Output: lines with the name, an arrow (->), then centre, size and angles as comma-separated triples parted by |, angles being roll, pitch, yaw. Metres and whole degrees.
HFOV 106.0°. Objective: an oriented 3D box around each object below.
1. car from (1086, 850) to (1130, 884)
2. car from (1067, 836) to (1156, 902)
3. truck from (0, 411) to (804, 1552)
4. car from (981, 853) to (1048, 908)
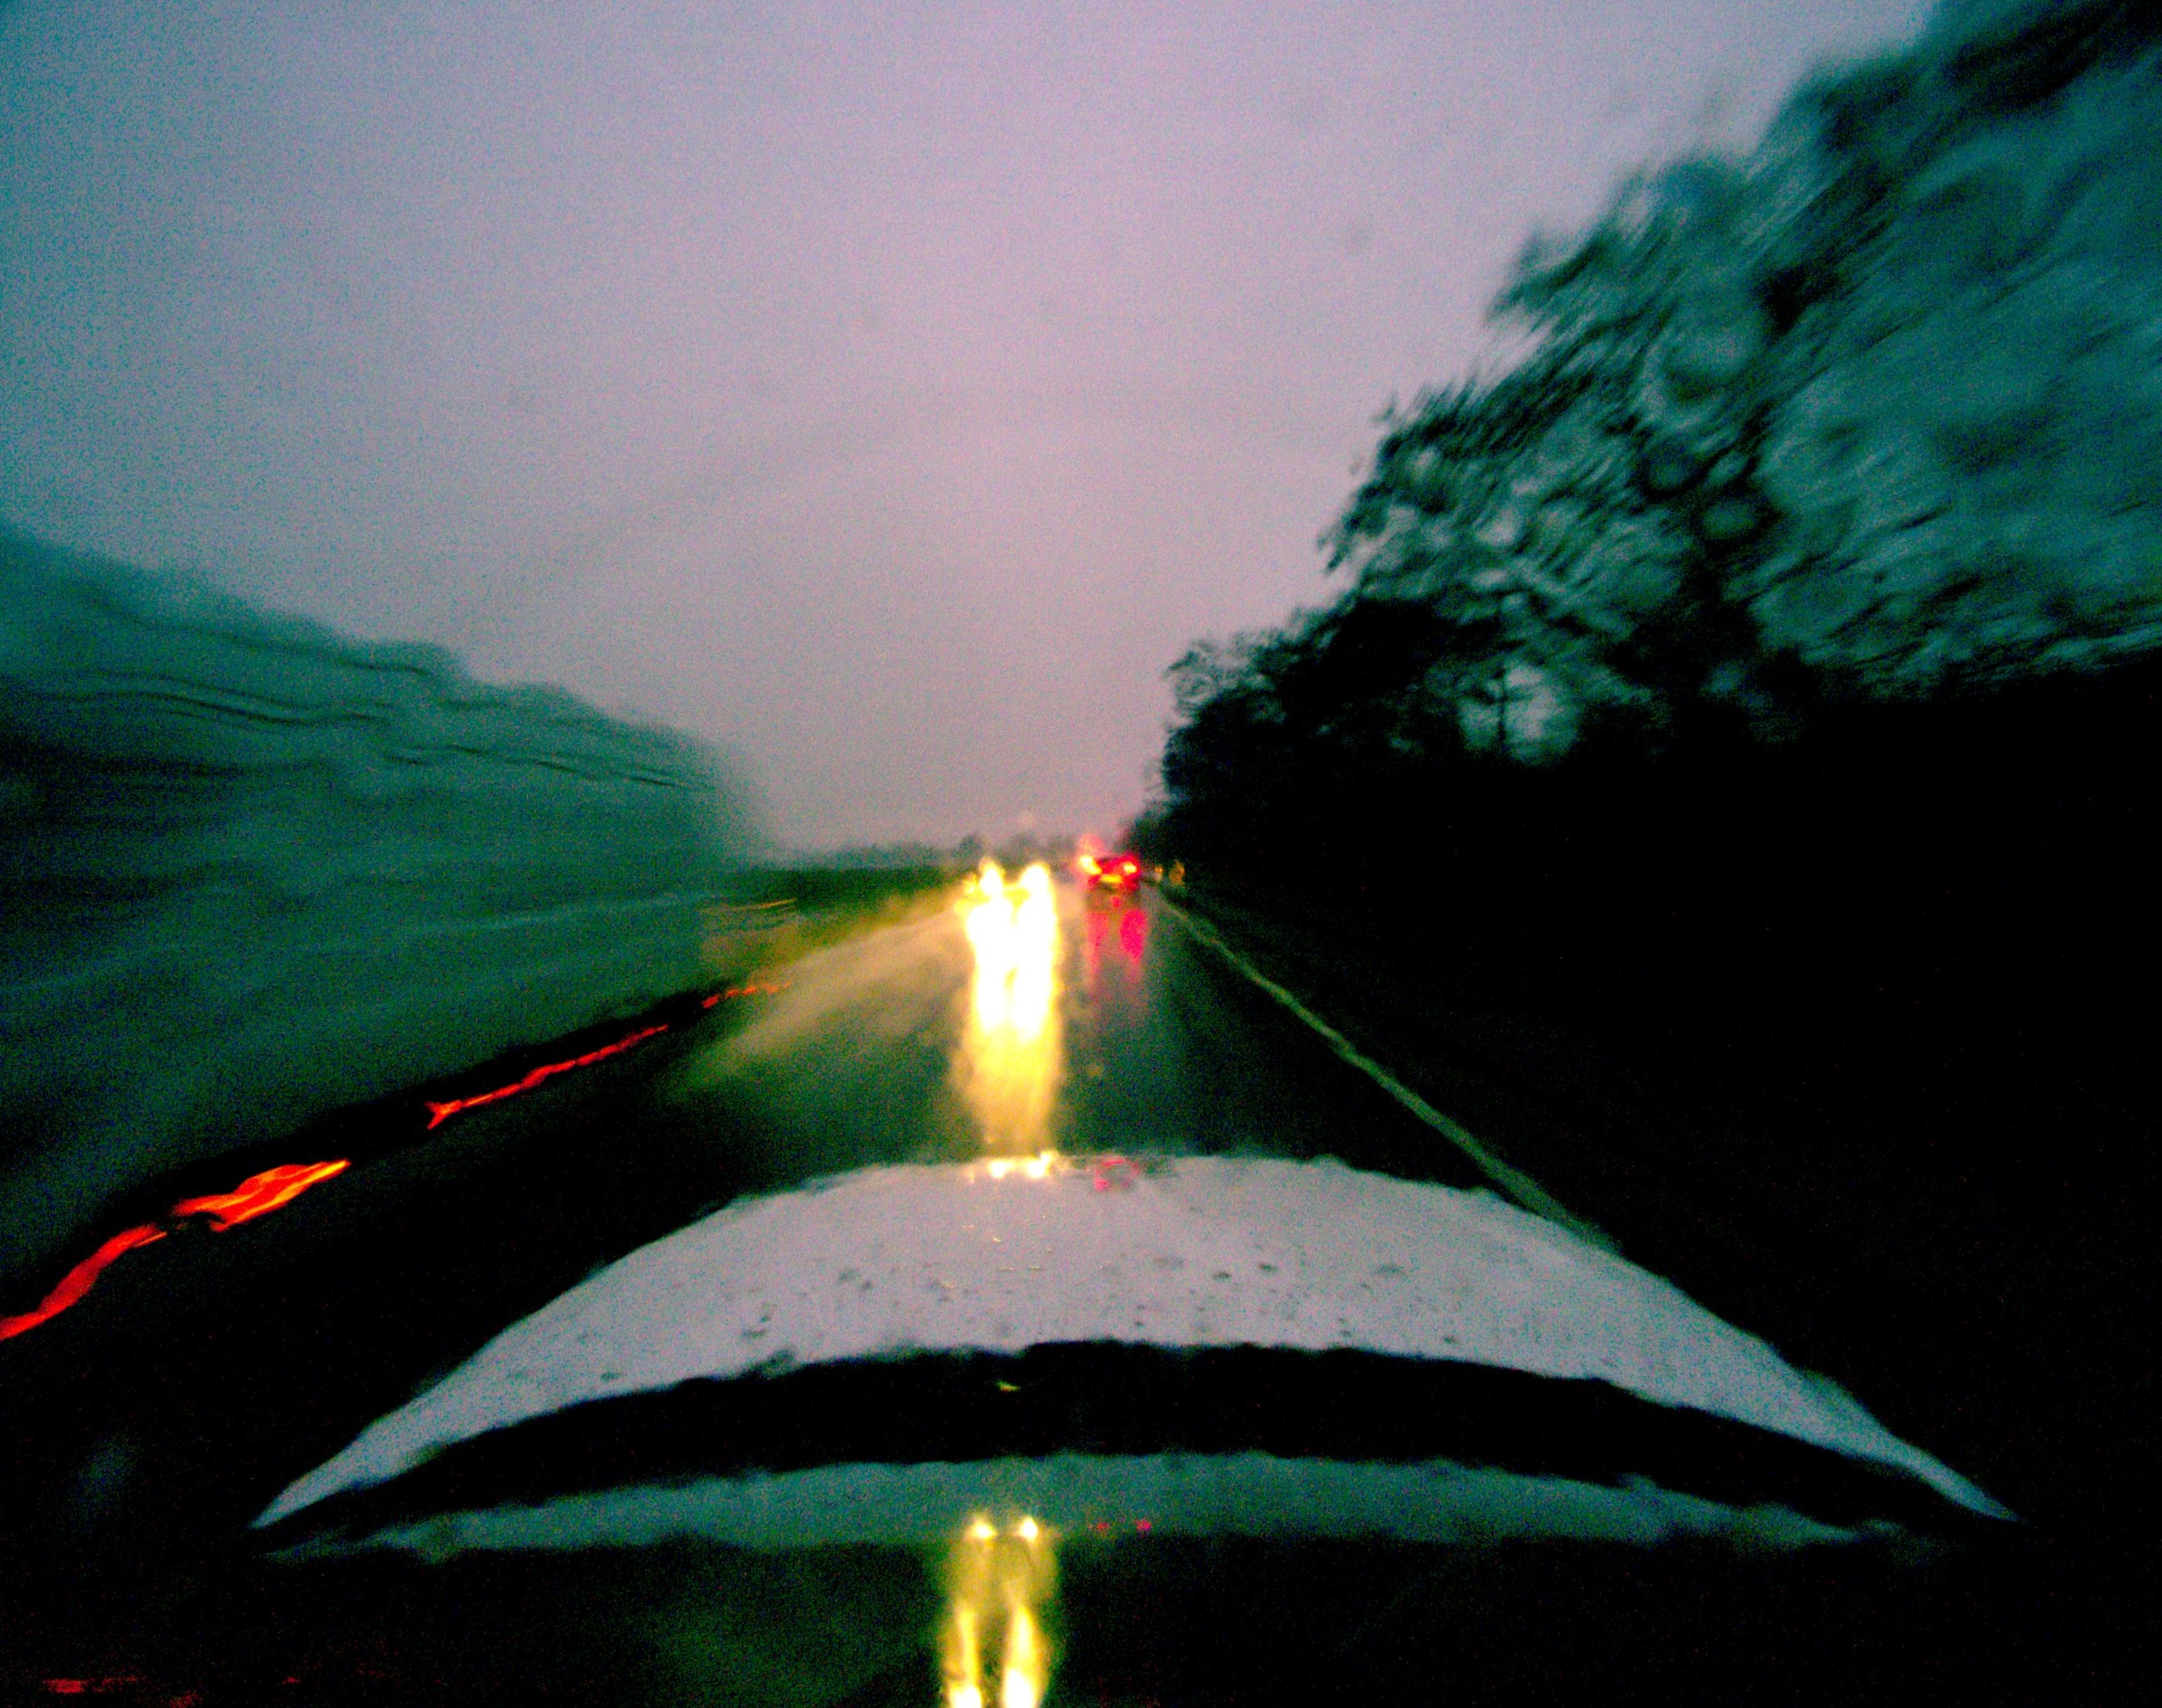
car -> 1.705, 0.762, 50.618 | 2.582, 2.014, 5.807 | 0, 0, 2
car -> 1.090, 0.490, 28.662 | 2.809, 2.077, 5.807 | 0, 0, 2
truck -> -3.607, 0.330, 3.301 | 2.261, 2.634, 7.036 | -4, 0, 1
car -> -2.388, 0.928, 30.352 | 1.986, 1.823, 4.001 | -4, 0, 1
